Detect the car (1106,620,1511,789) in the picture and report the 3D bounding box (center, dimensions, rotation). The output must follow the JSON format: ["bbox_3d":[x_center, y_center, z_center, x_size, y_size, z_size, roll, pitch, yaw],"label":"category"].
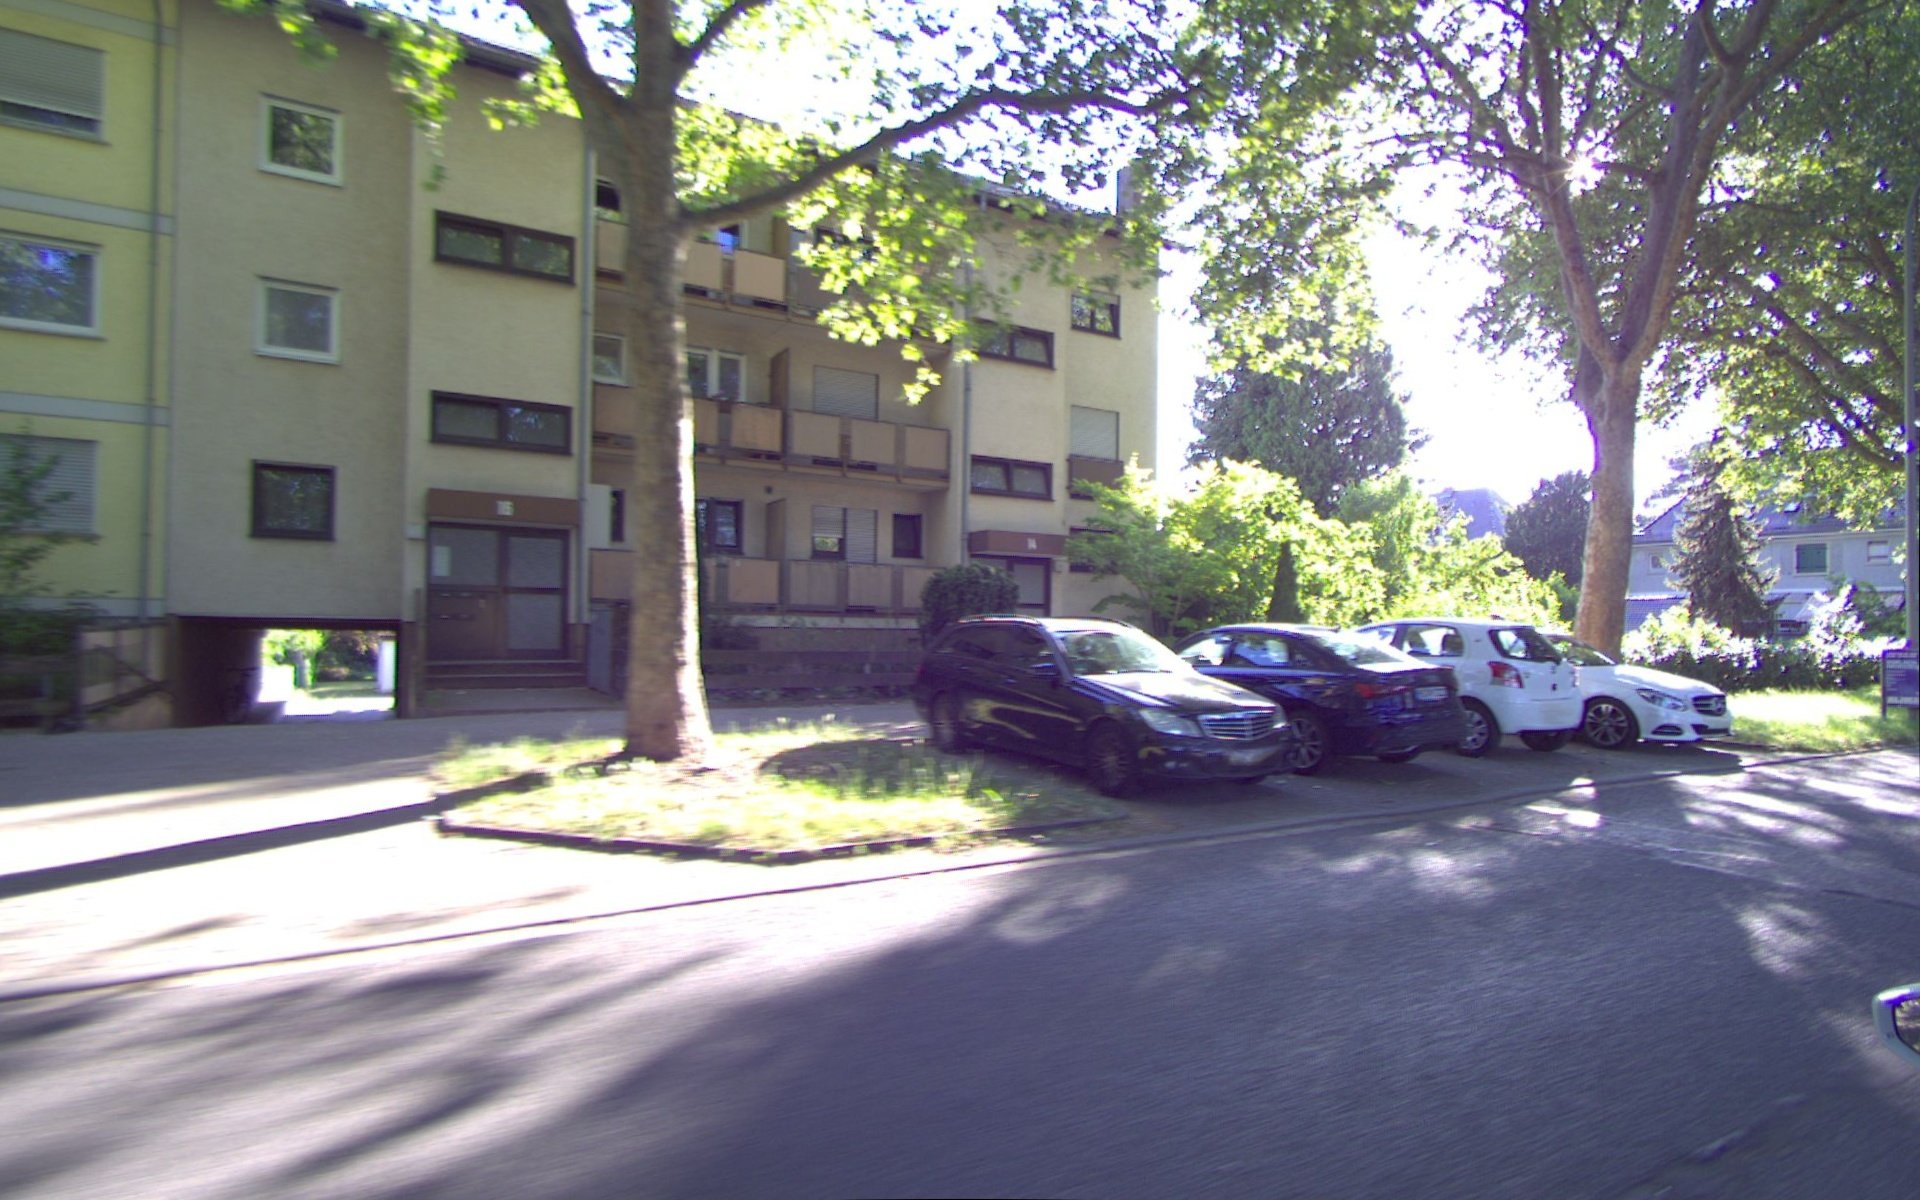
[{"bbox_3d":[3.611,0.975,11.071,1.790,1.443,3.962,1,-1,-34],"label":"car"}]

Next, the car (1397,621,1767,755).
[{"bbox_3d":[8.287,1.075,13.764,1.787,1.490,3.970,1,-1,-28],"label":"car"}]

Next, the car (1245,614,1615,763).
[{"bbox_3d":[5.769,0.980,12.808,1.788,1.540,3.967,1,-1,-31],"label":"car"}]

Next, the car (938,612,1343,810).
[{"bbox_3d":[1.523,0.886,9.865,1.760,1.490,3.967,1,-1,-31],"label":"car"}]
